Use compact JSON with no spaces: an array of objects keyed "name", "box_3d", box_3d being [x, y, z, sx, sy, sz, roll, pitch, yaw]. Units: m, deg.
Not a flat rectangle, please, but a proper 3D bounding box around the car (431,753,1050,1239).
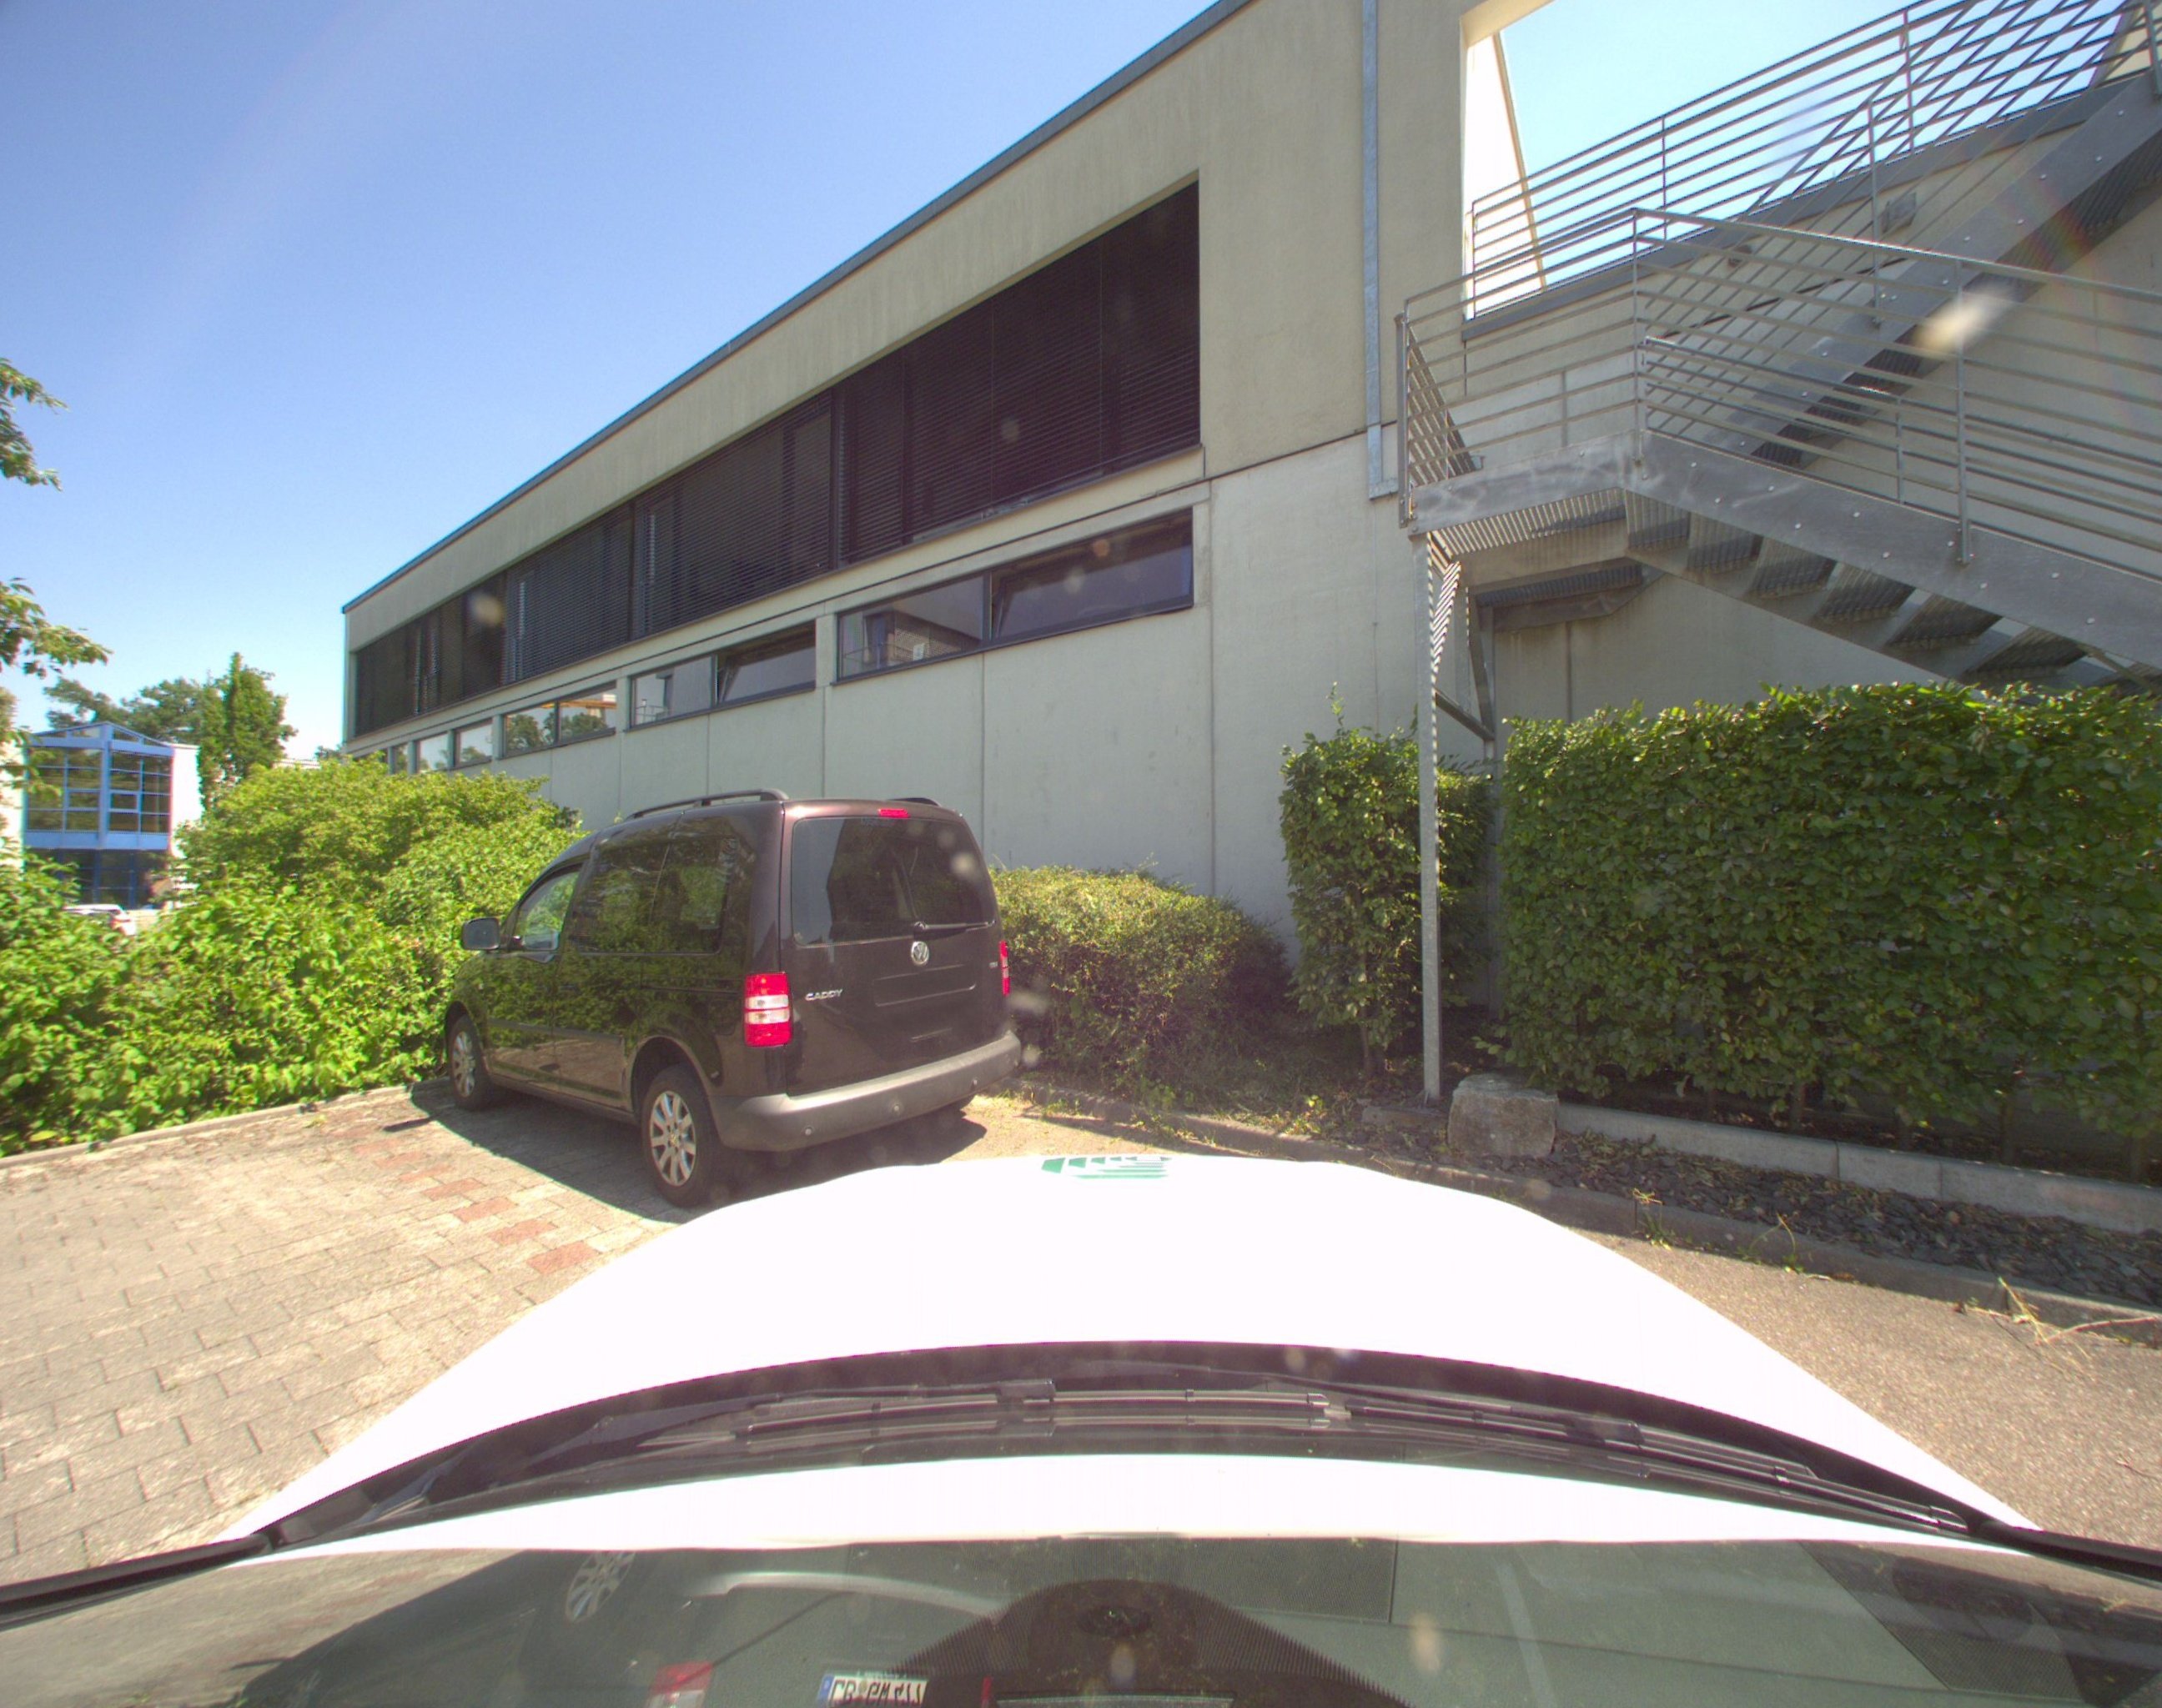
[{"name":"car","box_3d":[-2.305,0.577,5.036,4.018,1.884,1.689,-1,-1,36]}]
